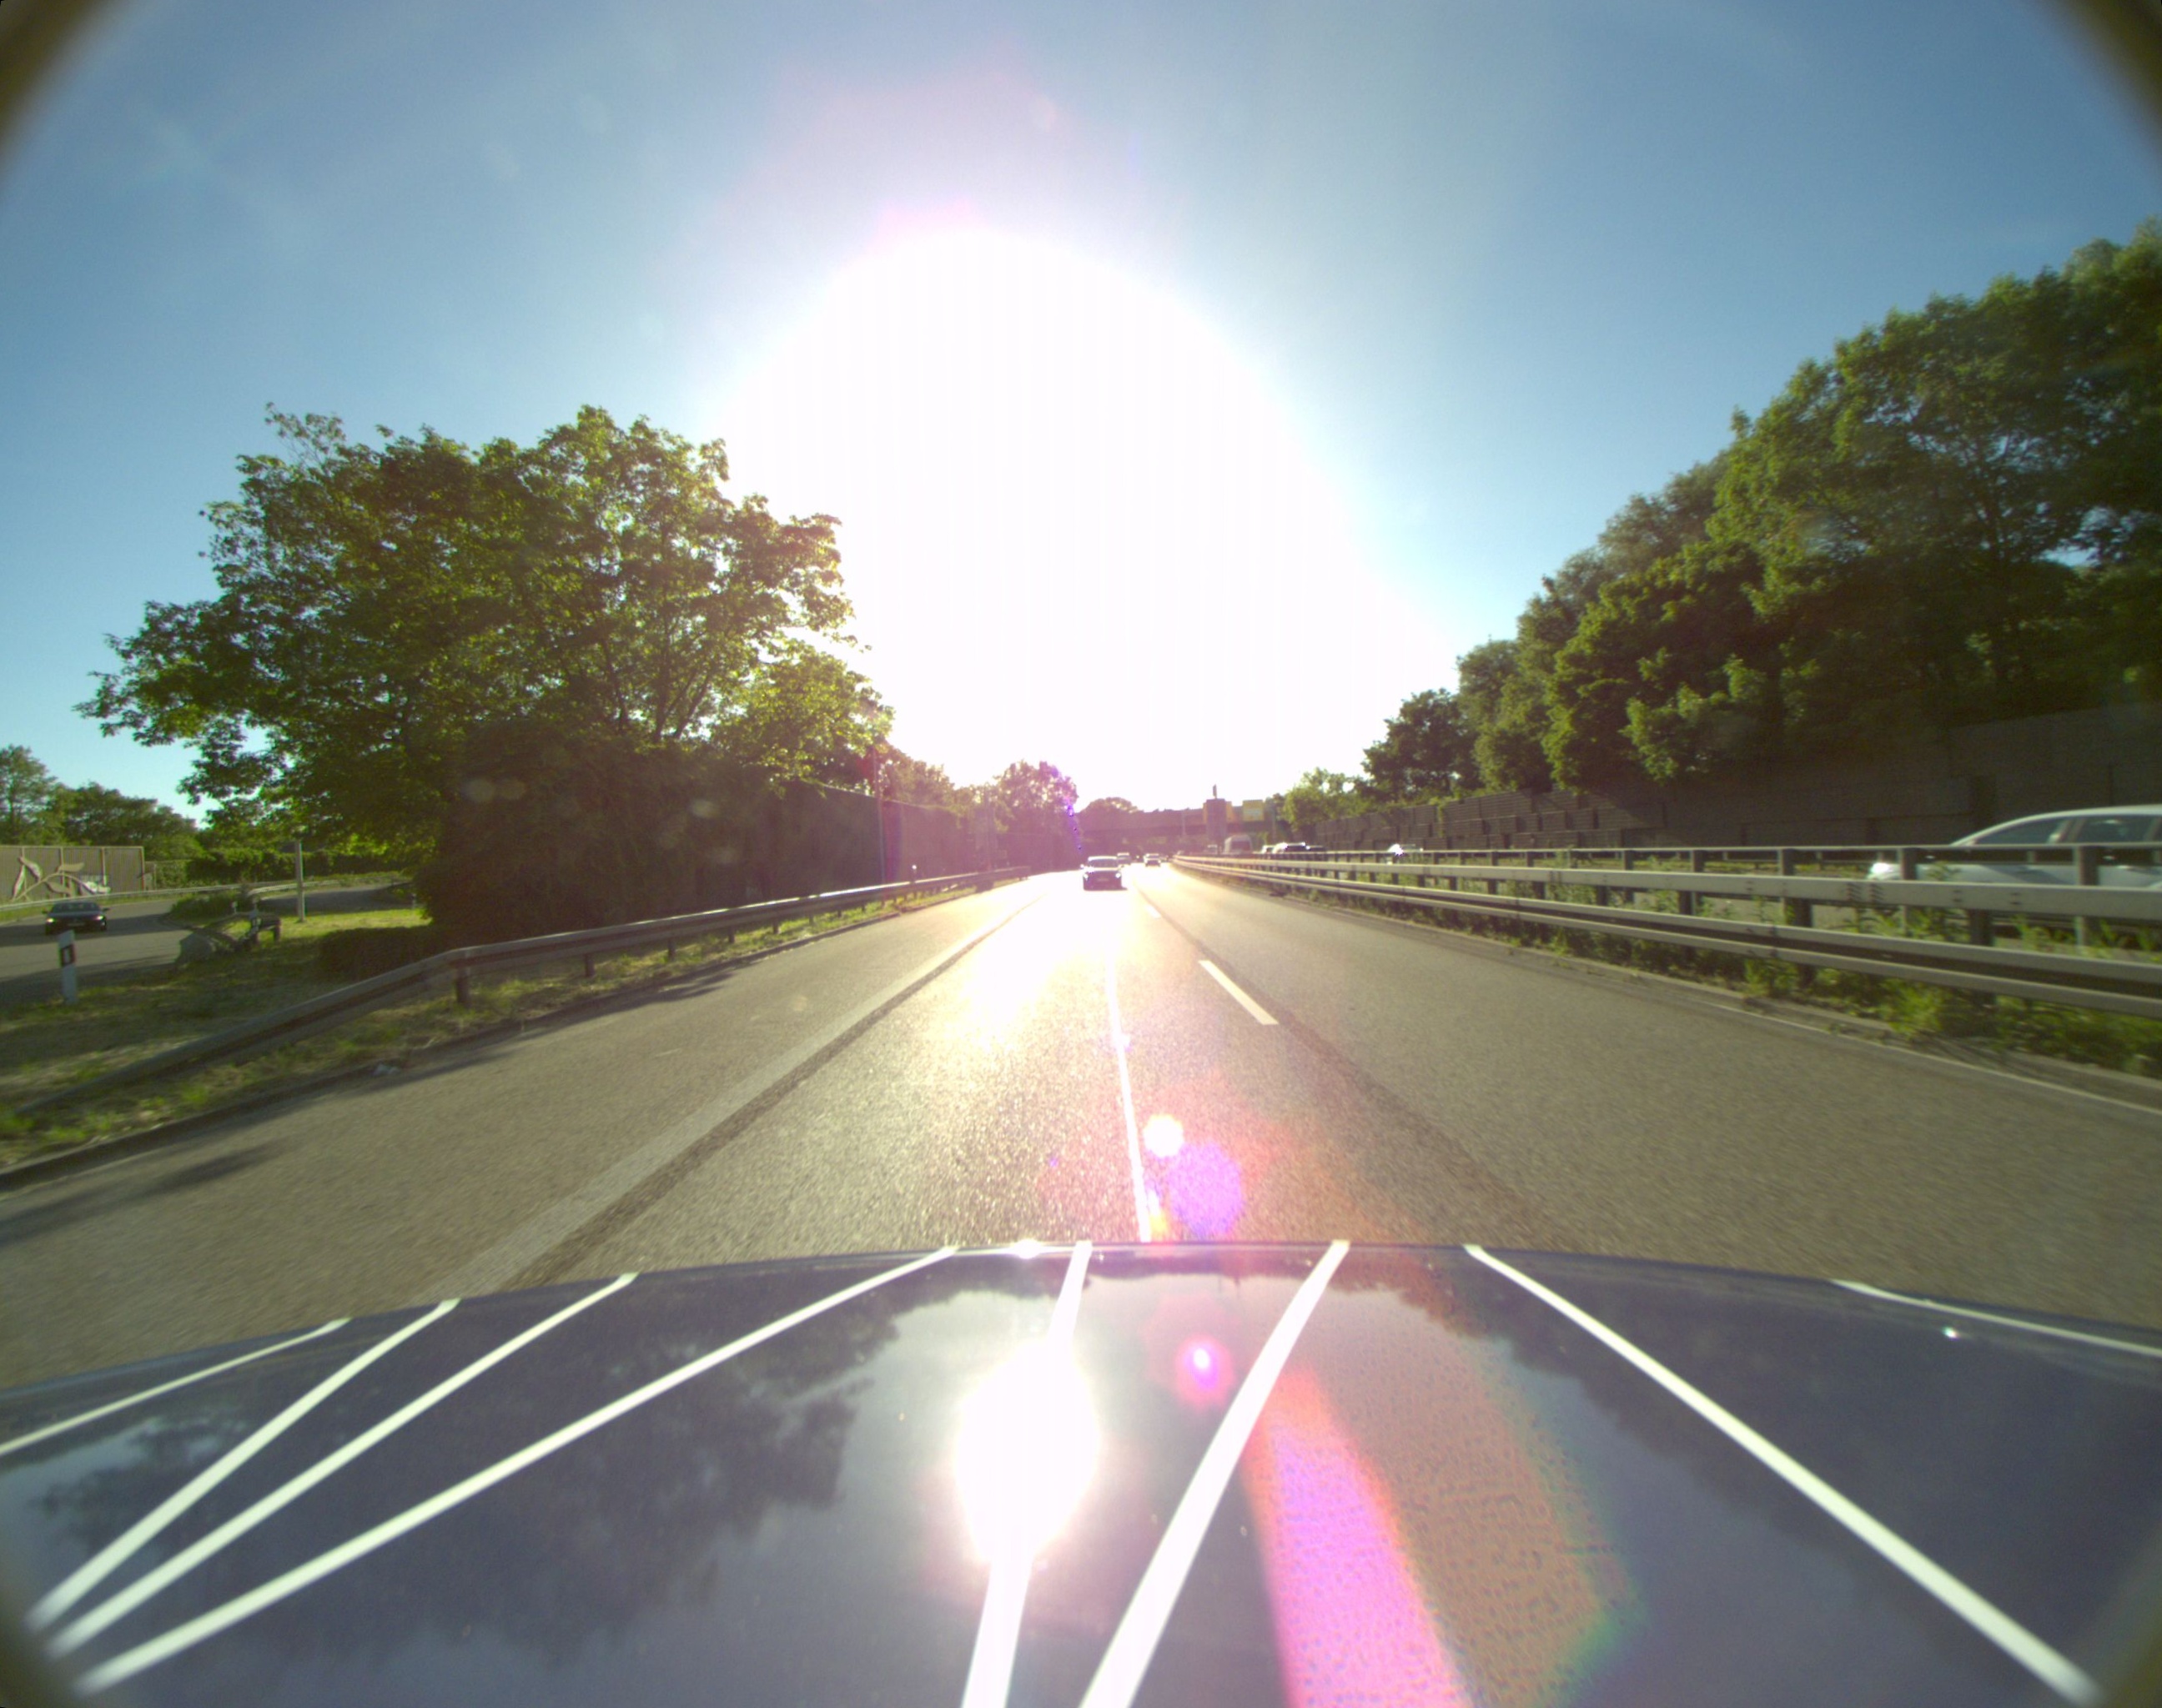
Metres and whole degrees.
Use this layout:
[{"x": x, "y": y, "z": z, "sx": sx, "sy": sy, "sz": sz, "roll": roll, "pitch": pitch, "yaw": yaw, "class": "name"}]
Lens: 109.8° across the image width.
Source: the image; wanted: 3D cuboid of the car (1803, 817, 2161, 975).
[{"x": 11.334, "y": 0.385, "z": 8.607, "sx": 1.826, "sy": 1.471, "sz": 4.621, "roll": -4, "pitch": 0, "yaw": 0, "class": "car"}]

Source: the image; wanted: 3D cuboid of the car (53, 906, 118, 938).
[{"x": -46.877, "y": 3.205, "z": 35.846, "sx": 3.990, "sy": 1.277, "sz": 1.646, "roll": -5, "pitch": 0, "yaw": 39, "class": "car"}]

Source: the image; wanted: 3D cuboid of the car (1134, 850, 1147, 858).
[{"x": 11.225, "y": 0.047, "z": 142.802, "sx": 1.997, "sy": 1.406, "sz": 4.834, "roll": -3, "pitch": 0, "yaw": 9, "class": "car"}]

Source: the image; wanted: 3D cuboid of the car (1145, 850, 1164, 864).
[{"x": 8.369, "y": 0.343, "z": 86.504, "sx": 1.998, "sy": 1.406, "sz": 4.833, "roll": -3, "pitch": 0, "yaw": 6, "class": "car"}]

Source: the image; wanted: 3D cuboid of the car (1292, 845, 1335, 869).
[{"x": 17.551, "y": 0.214, "z": 57.591, "sx": 1.906, "sy": 1.610, "sz": 4.697, "roll": -4, "pitch": 0, "yaw": 2, "class": "car"}]

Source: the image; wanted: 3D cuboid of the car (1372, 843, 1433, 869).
[{"x": 19.643, "y": 0.138, "z": 46.613, "sx": 1.998, "sy": 1.379, "sz": 4.029, "roll": -4, "pitch": 0, "yaw": 1, "class": "car"}]

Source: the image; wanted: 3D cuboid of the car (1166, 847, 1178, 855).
[{"x": 18.277, "y": -0.607, "z": 152.604, "sx": 1.997, "sy": 1.406, "sz": 4.834, "roll": -3, "pitch": 0, "yaw": 11, "class": "car"}]

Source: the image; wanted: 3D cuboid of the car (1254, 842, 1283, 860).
[{"x": 19.071, "y": -0.297, "z": 77.371, "sx": 1.998, "sy": 1.586, "sz": 4.622, "roll": -4, "pitch": 0, "yaw": 4, "class": "car"}]

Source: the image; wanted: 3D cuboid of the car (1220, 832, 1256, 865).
[{"x": 14.127, "y": -0.454, "z": 68.666, "sx": 2.126, "sy": 2.667, "sz": 6.590, "roll": -4, "pitch": 0, "yaw": 4, "class": "car"}]

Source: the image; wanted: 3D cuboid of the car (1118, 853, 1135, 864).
[{"x": 6.090, "y": 0.584, "z": 100.770, "sx": 1.998, "sy": 1.406, "sz": 4.833, "roll": -3, "pitch": 0, "yaw": 6, "class": "car"}]

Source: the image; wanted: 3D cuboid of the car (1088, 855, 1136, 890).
[{"x": 1.416, "y": 0.791, "z": 35.195, "sx": 1.998, "sy": 1.406, "sz": 4.831, "roll": -2, "pitch": 0, "yaw": 2, "class": "car"}]

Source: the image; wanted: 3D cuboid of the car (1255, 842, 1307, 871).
[{"x": 11.717, "y": 0.170, "z": 44.789, "sx": 1.998, "sy": 1.570, "sz": 4.248, "roll": -2, "pitch": -1, "yaw": 1, "class": "car"}]
